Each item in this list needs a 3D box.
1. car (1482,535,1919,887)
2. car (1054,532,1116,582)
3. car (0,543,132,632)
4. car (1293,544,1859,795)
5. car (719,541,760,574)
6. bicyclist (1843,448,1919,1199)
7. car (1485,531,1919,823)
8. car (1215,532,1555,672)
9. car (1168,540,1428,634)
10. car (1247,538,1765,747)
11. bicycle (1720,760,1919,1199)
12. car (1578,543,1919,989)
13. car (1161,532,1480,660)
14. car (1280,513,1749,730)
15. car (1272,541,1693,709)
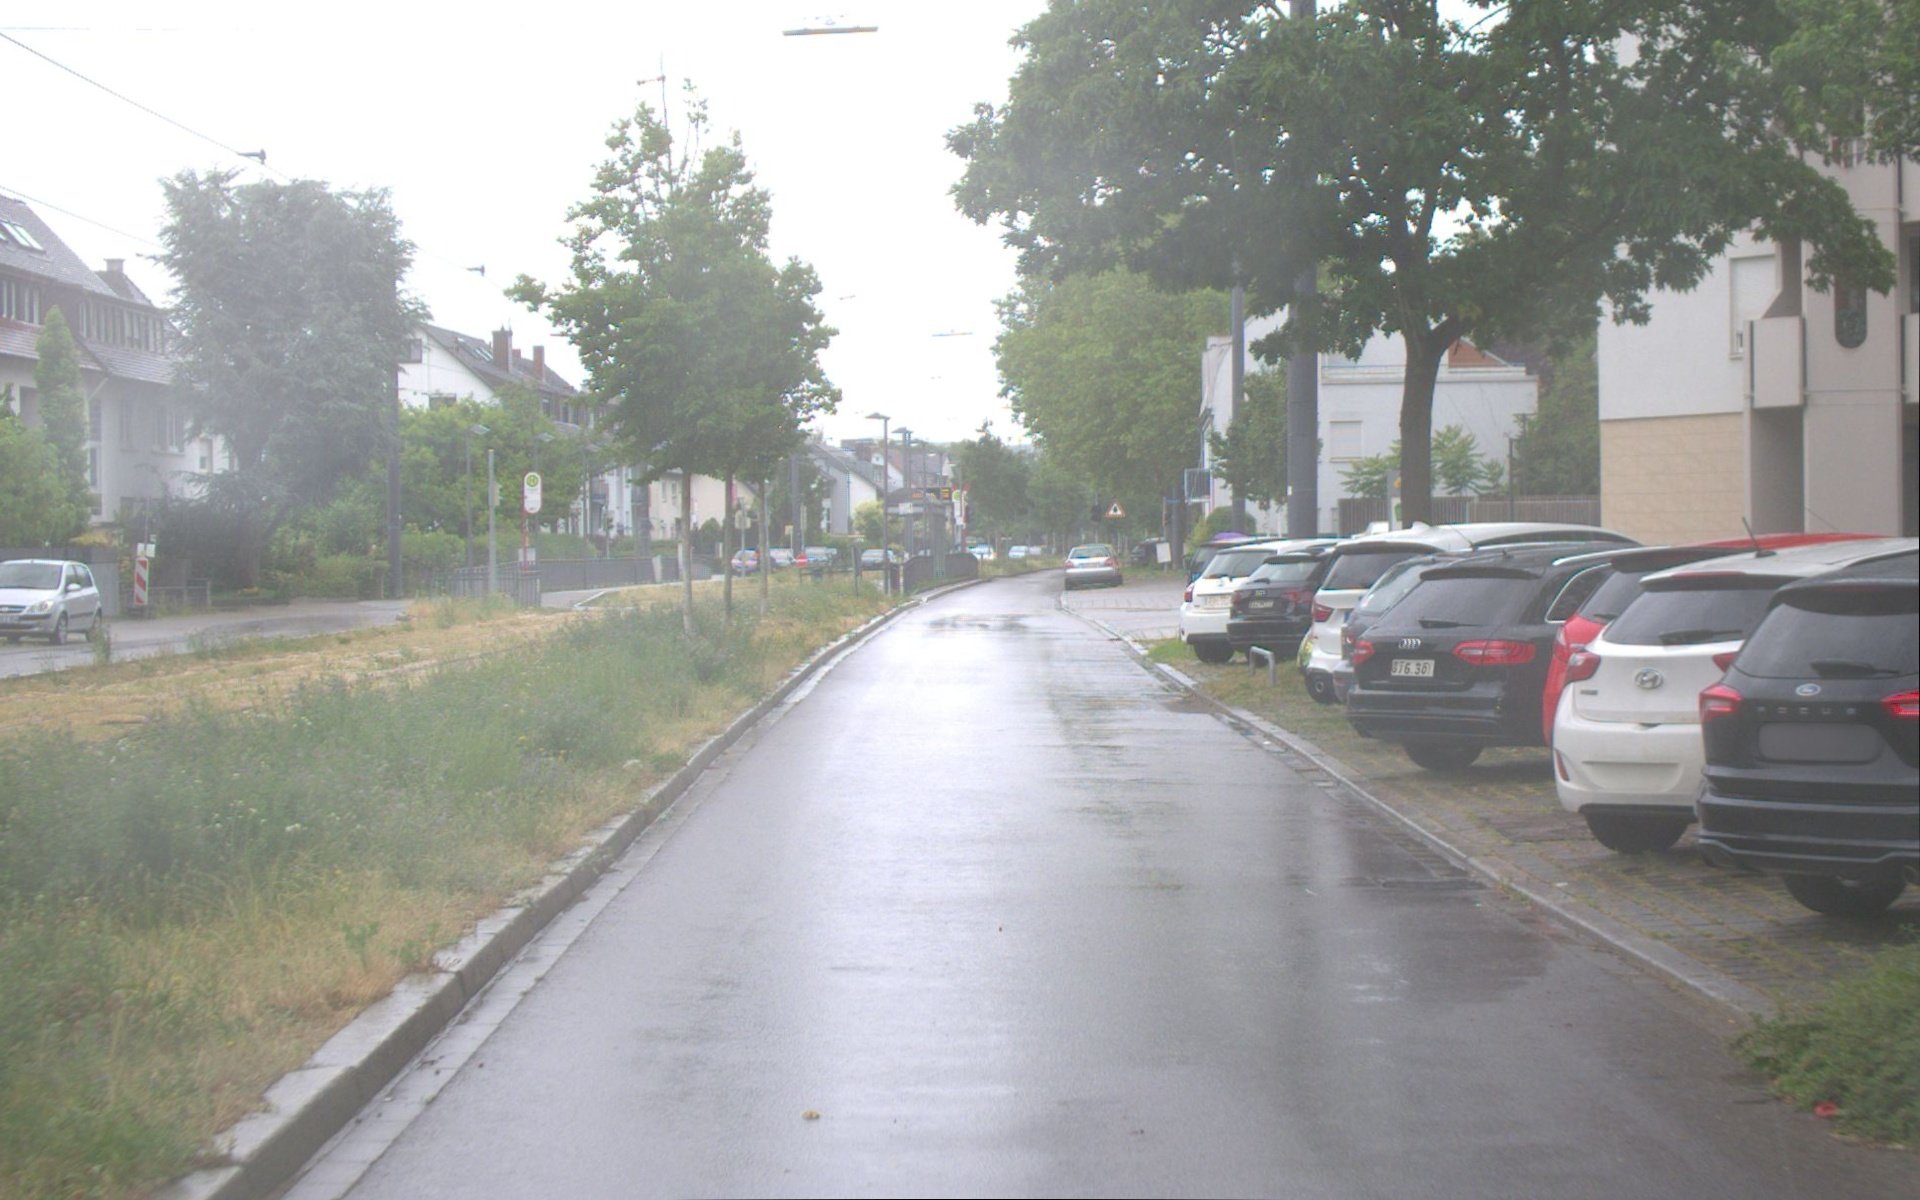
[{"bbox_3d":[4.600,0.445,16.872,4.028,1.514,1.585,-2,1,-35],"label":"car"},{"bbox_3d":[4.127,-1.440,113.970,1.833,1.580,4.000,-1,1,0],"label":"car"},{"bbox_3d":[-16.249,-0.240,60.784,1.897,1.464,4.687,-1,1,2],"label":"car"},{"bbox_3d":[4.105,0.392,22.503,4.030,1.438,1.584,-2,1,-44],"label":"car"},{"bbox_3d":[-11.511,-2.227,179.662,1.843,1.666,4.000,-1,1,0],"label":"car"},{"bbox_3d":[1.968,0.463,5.391,0.809,1.428,1.060,-1,1,-4],"label":"bicyclist"},{"bbox_3d":[5.092,0.371,20.014,4.028,1.514,1.585,-2,1,-35],"label":"car"},{"bbox_3d":[5.095,-0.007,40.984,4.029,1.535,1.585,-2,1,-37],"label":"car"},{"bbox_3d":[5.323,-0.219,53.918,4.029,1.365,1.585,-2,1,-37],"label":"car"},{"bbox_3d":[4.262,0.281,26.568,4.029,1.438,1.585,-2,1,-37],"label":"car"},{"bbox_3d":[1.966,0.879,5.429,0.809,1.093,2.517,-1,1,-4],"label":"bicycle"},{"bbox_3d":[4.628,0.521,13.532,4.214,1.514,1.877,-2,1,-35],"label":"car"},{"bbox_3d":[4.632,-0.074,43.888,4.029,1.508,1.585,-2,1,-37],"label":"car"},{"bbox_3d":[4.779,0.136,29.368,4.029,1.697,1.585,-2,1,-37],"label":"car"},{"bbox_3d":[5.006,0.200,32.692,4.029,1.441,1.585,-2,1,-37],"label":"car"}]
